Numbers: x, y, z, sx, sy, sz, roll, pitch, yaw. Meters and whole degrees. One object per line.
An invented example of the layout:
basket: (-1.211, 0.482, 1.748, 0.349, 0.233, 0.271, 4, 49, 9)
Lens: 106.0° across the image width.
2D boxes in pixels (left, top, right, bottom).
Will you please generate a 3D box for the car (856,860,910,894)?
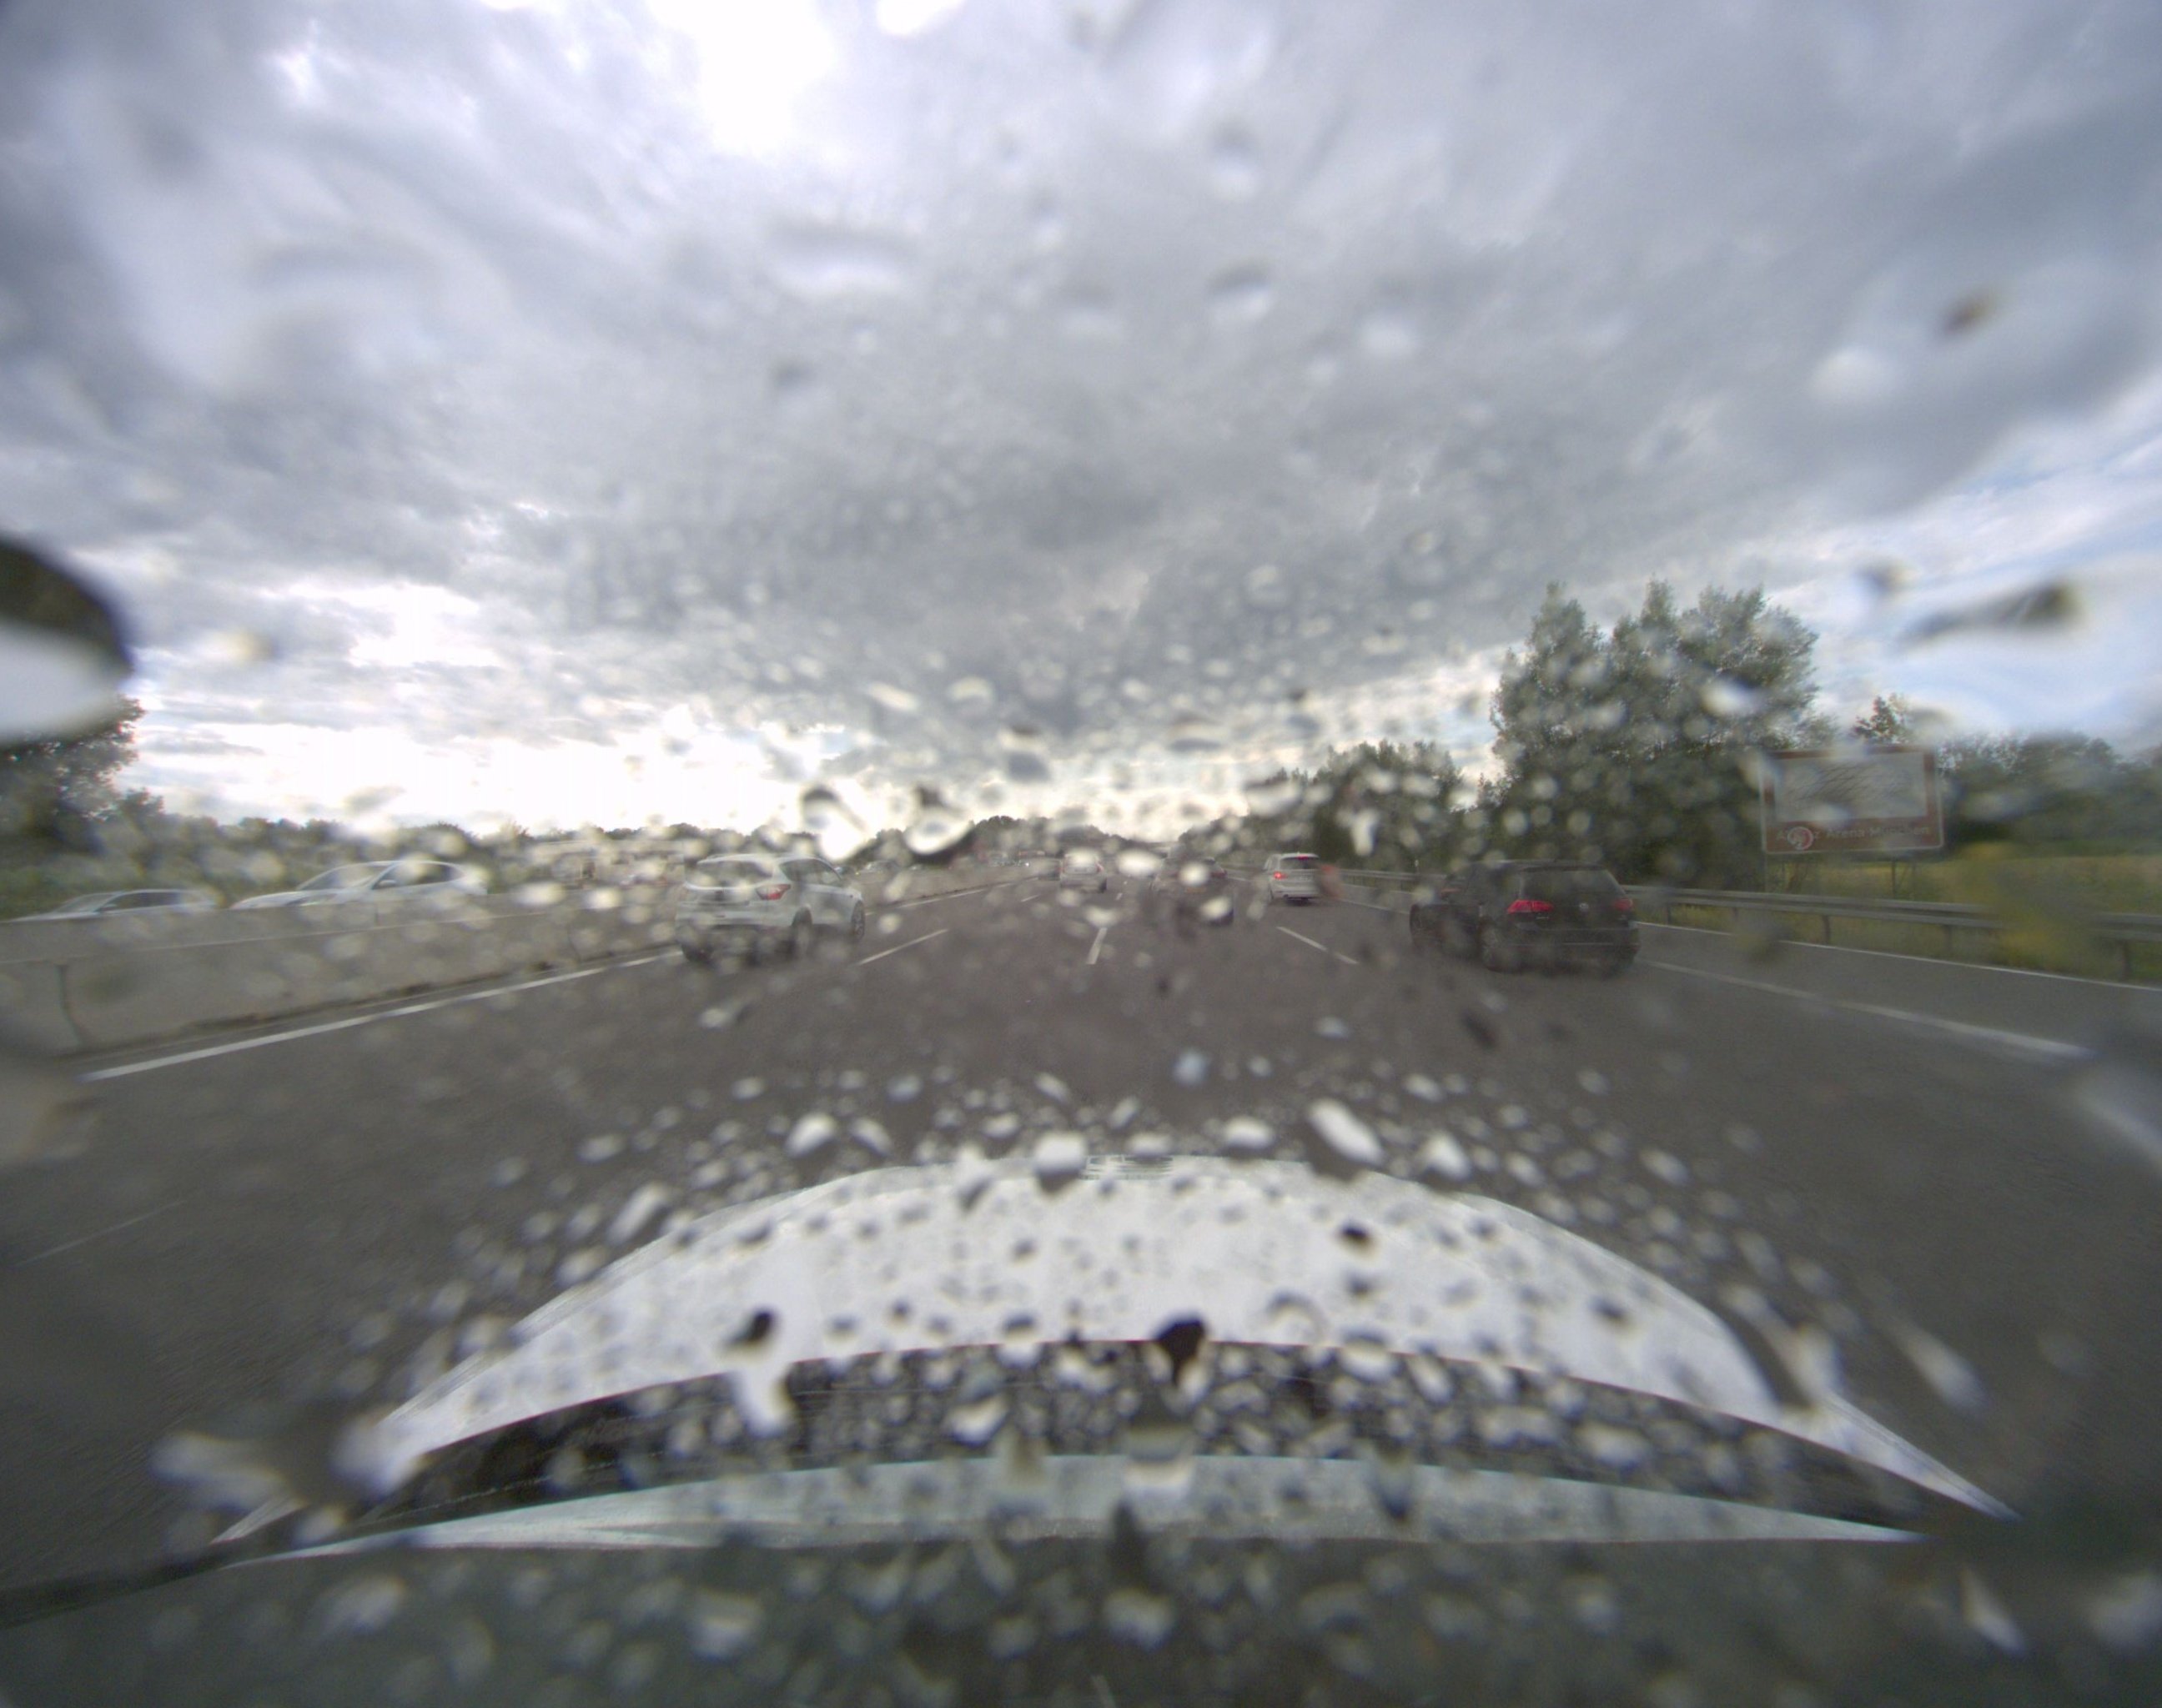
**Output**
car: (-12.671, 1.435, 52.443, 1.985, 2.014, 5.186, -1, 0, 3)

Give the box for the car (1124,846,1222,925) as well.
car: (2.047, 0.673, 19.306, 1.775, 1.613, 4.597, -1, 0, 0)

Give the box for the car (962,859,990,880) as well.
car: (-10.496, 1.529, 81.779, 1.985, 2.014, 4.269, -1, 0, 4)

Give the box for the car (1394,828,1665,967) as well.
car: (6.168, 0.529, 11.889, 1.699, 1.631, 4.461, -1, 0, 3)

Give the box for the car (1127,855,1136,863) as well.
car: (11.283, 1.187, 182.764, 1.873, 1.686, 4.003, -1, 0, 3)

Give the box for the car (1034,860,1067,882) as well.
car: (-2.152, 1.193, 59.108, 1.772, 1.481, 4.359, -1, 0, 6)

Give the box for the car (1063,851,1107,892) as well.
car: (0.249, 0.775, 37.407, 1.773, 1.716, 4.356, -1, 0, 3)

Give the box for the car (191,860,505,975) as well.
car: (-14.756, 1.151, 16.896, 1.985, 2.014, 4.768, -1, 0, 4)

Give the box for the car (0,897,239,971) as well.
car: (-26.452, 2.107, 22.368, 1.986, 1.618, 4.403, -1, 0, 2)

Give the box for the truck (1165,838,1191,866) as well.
truck: (13.253, -0.210, 112.356, 3.119, 3.709, 9.859, -1, 0, 4)

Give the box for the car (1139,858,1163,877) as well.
car: (5.600, 1.062, 65.438, 1.876, 1.407, 4.287, -1, 0, 4)

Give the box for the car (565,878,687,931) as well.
car: (-17.834, 1.922, 32.241, 1.985, 1.828, 4.642, -1, 0, 4)

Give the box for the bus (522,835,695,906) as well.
bus: (-24.859, 0.830, 43.749, 2.818, 3.332, 9.976, -1, 0, 5)

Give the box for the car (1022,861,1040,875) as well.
car: (-7.515, 2.092, 121.998, 1.984, 1.967, 4.702, -1, 0, 5)

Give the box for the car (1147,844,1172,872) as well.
car: (8.637, 0.477, 90.117, 2.555, 2.895, 7.543, -1, 0, 5)

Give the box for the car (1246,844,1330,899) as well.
car: (6.591, 0.532, 26.431, 1.802, 1.599, 4.700, -1, 0, 4)

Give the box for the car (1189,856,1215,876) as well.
car: (9.616, 0.940, 65.044, 1.787, 1.477, 4.043, -1, 0, 5)

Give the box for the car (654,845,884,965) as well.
car: (-5.090, 0.732, 14.150, 1.807, 1.689, 4.857, -1, 0, 4)

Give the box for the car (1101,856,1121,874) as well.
car: (2.935, 1.034, 79.889, 1.873, 1.686, 4.003, -1, 0, 3)
